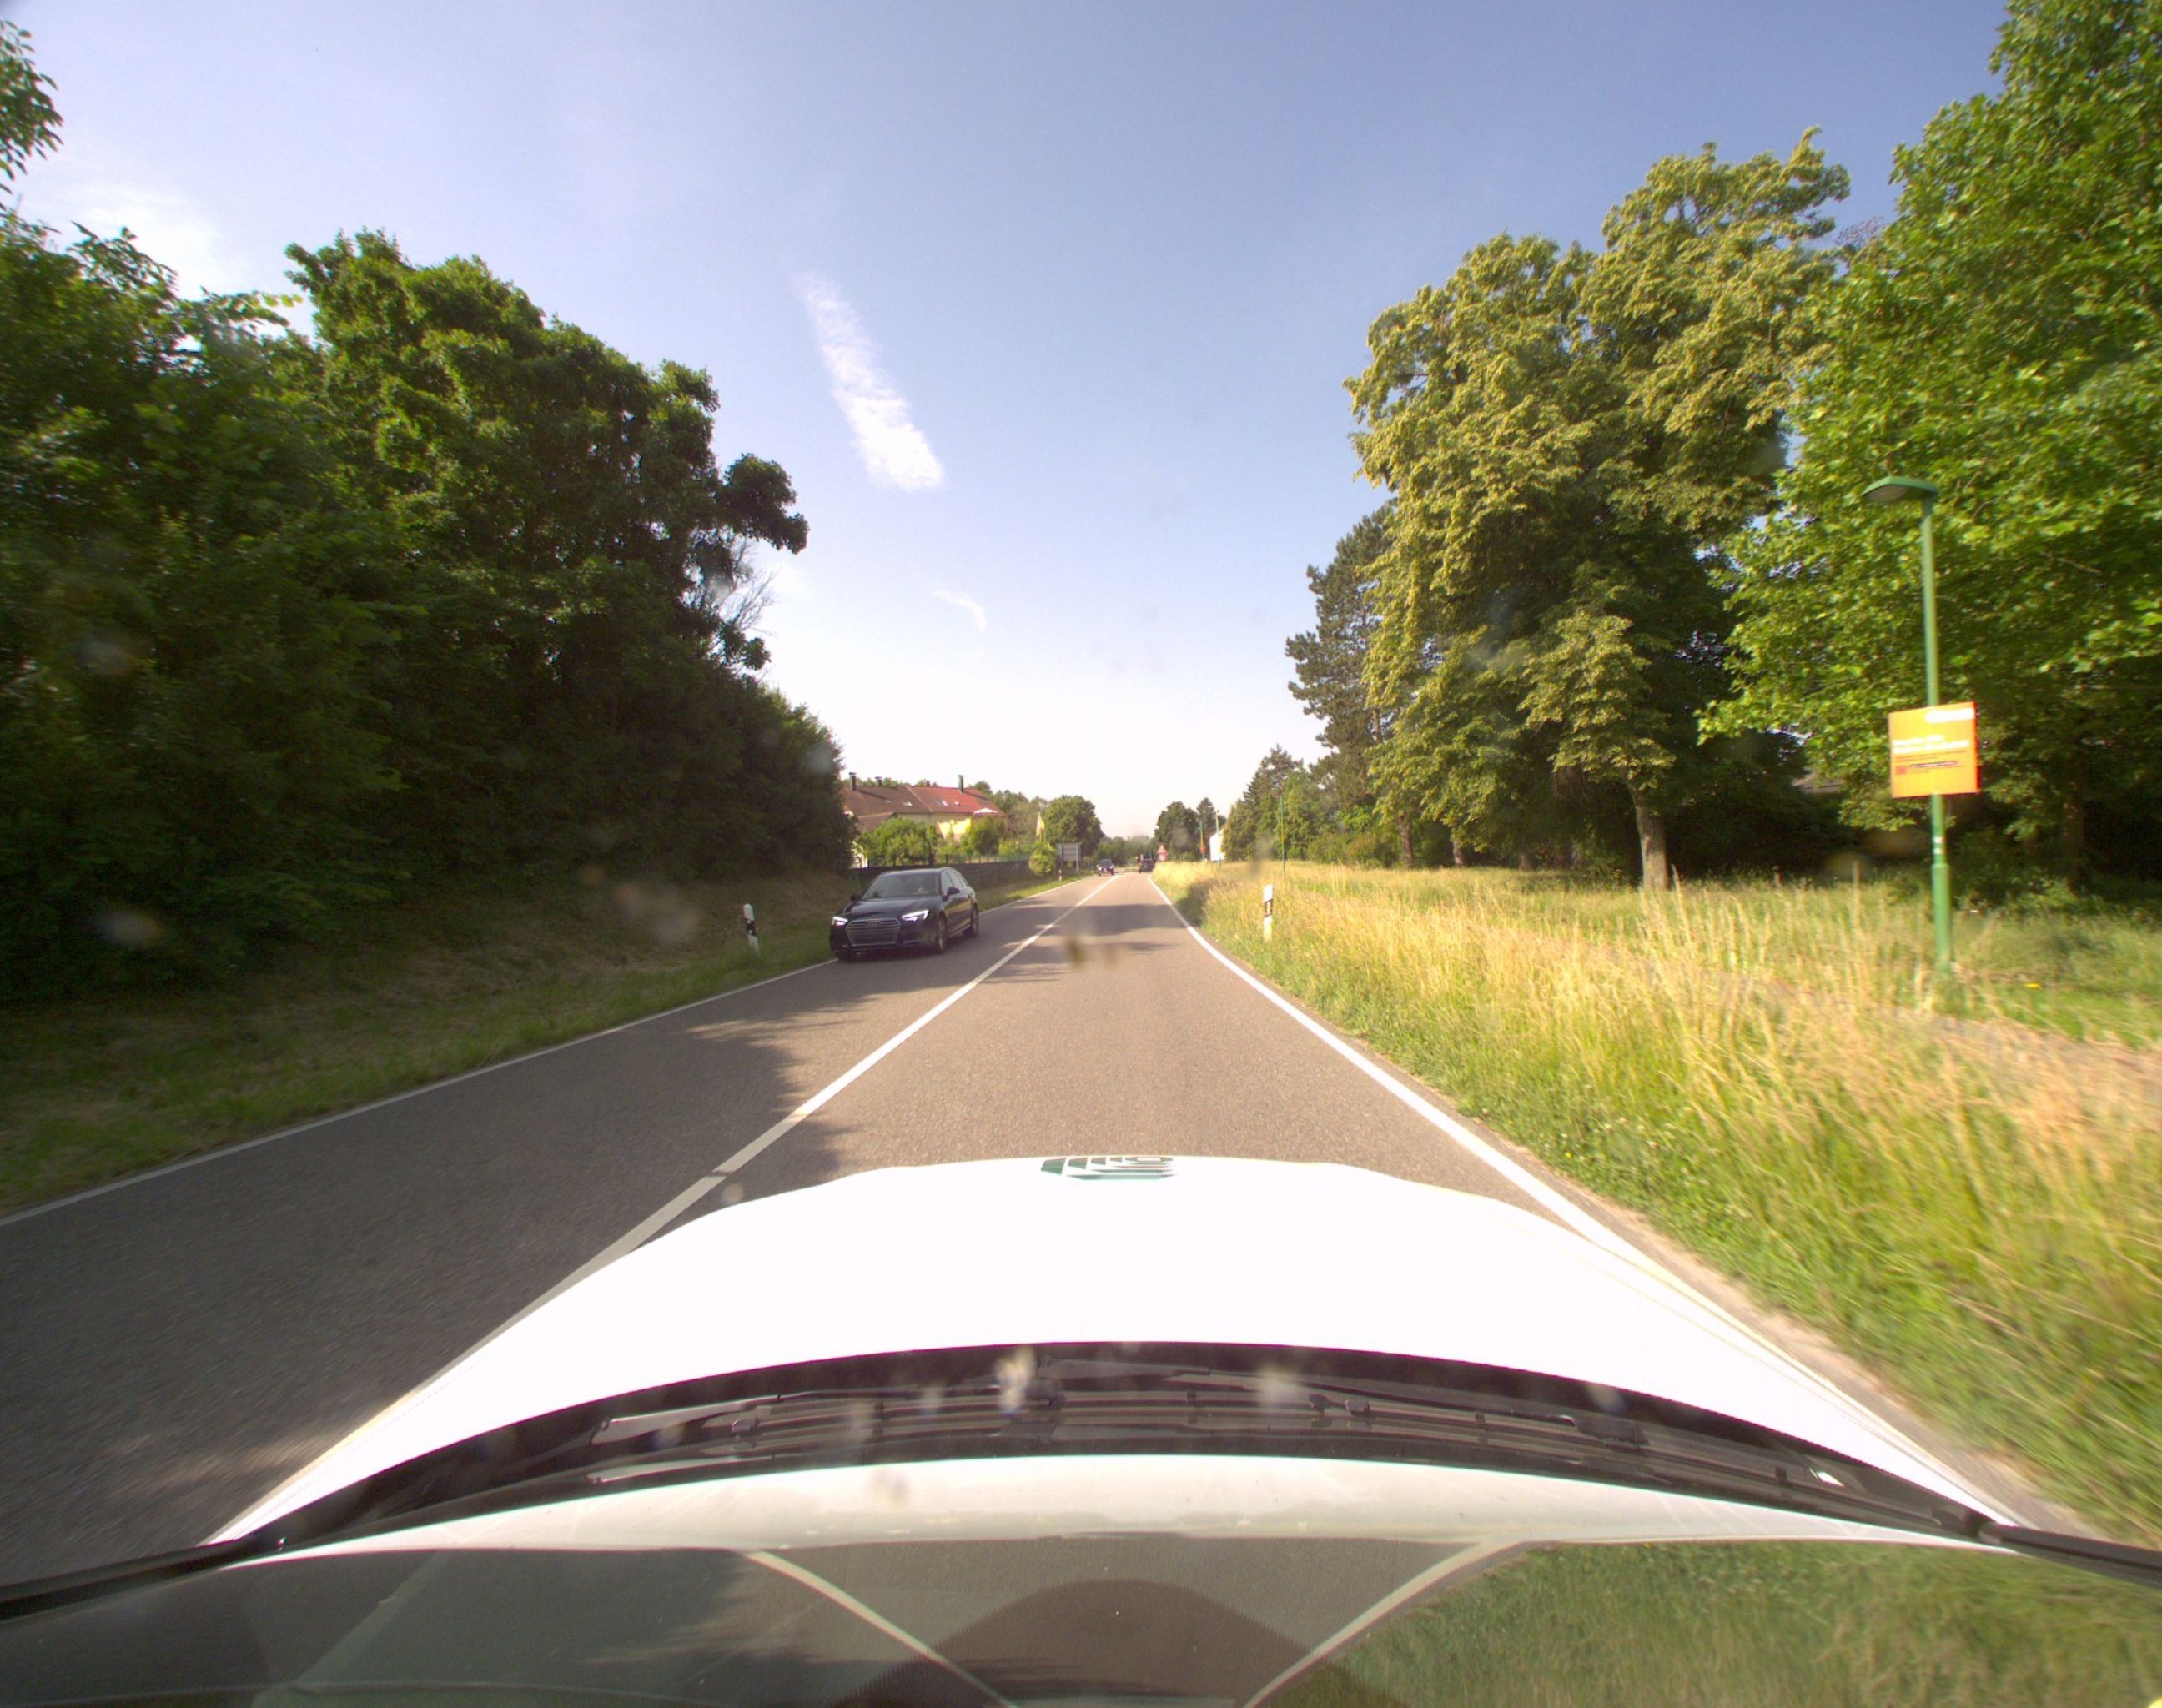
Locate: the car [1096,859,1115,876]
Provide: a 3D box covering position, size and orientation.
[{"bbox_3d":[2.880,1.549,93.633,1.931,1.817,4.246,-4,-1,4],"label":"car"}]

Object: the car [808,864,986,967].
[{"bbox_3d":[-3.129,0.989,14.959,1.862,1.423,4.581,-4,0,4],"label":"car"}]

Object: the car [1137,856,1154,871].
[{"bbox_3d":[7.979,1.131,100.496,1.916,1.771,4.005,-2,0,4],"label":"car"}]
